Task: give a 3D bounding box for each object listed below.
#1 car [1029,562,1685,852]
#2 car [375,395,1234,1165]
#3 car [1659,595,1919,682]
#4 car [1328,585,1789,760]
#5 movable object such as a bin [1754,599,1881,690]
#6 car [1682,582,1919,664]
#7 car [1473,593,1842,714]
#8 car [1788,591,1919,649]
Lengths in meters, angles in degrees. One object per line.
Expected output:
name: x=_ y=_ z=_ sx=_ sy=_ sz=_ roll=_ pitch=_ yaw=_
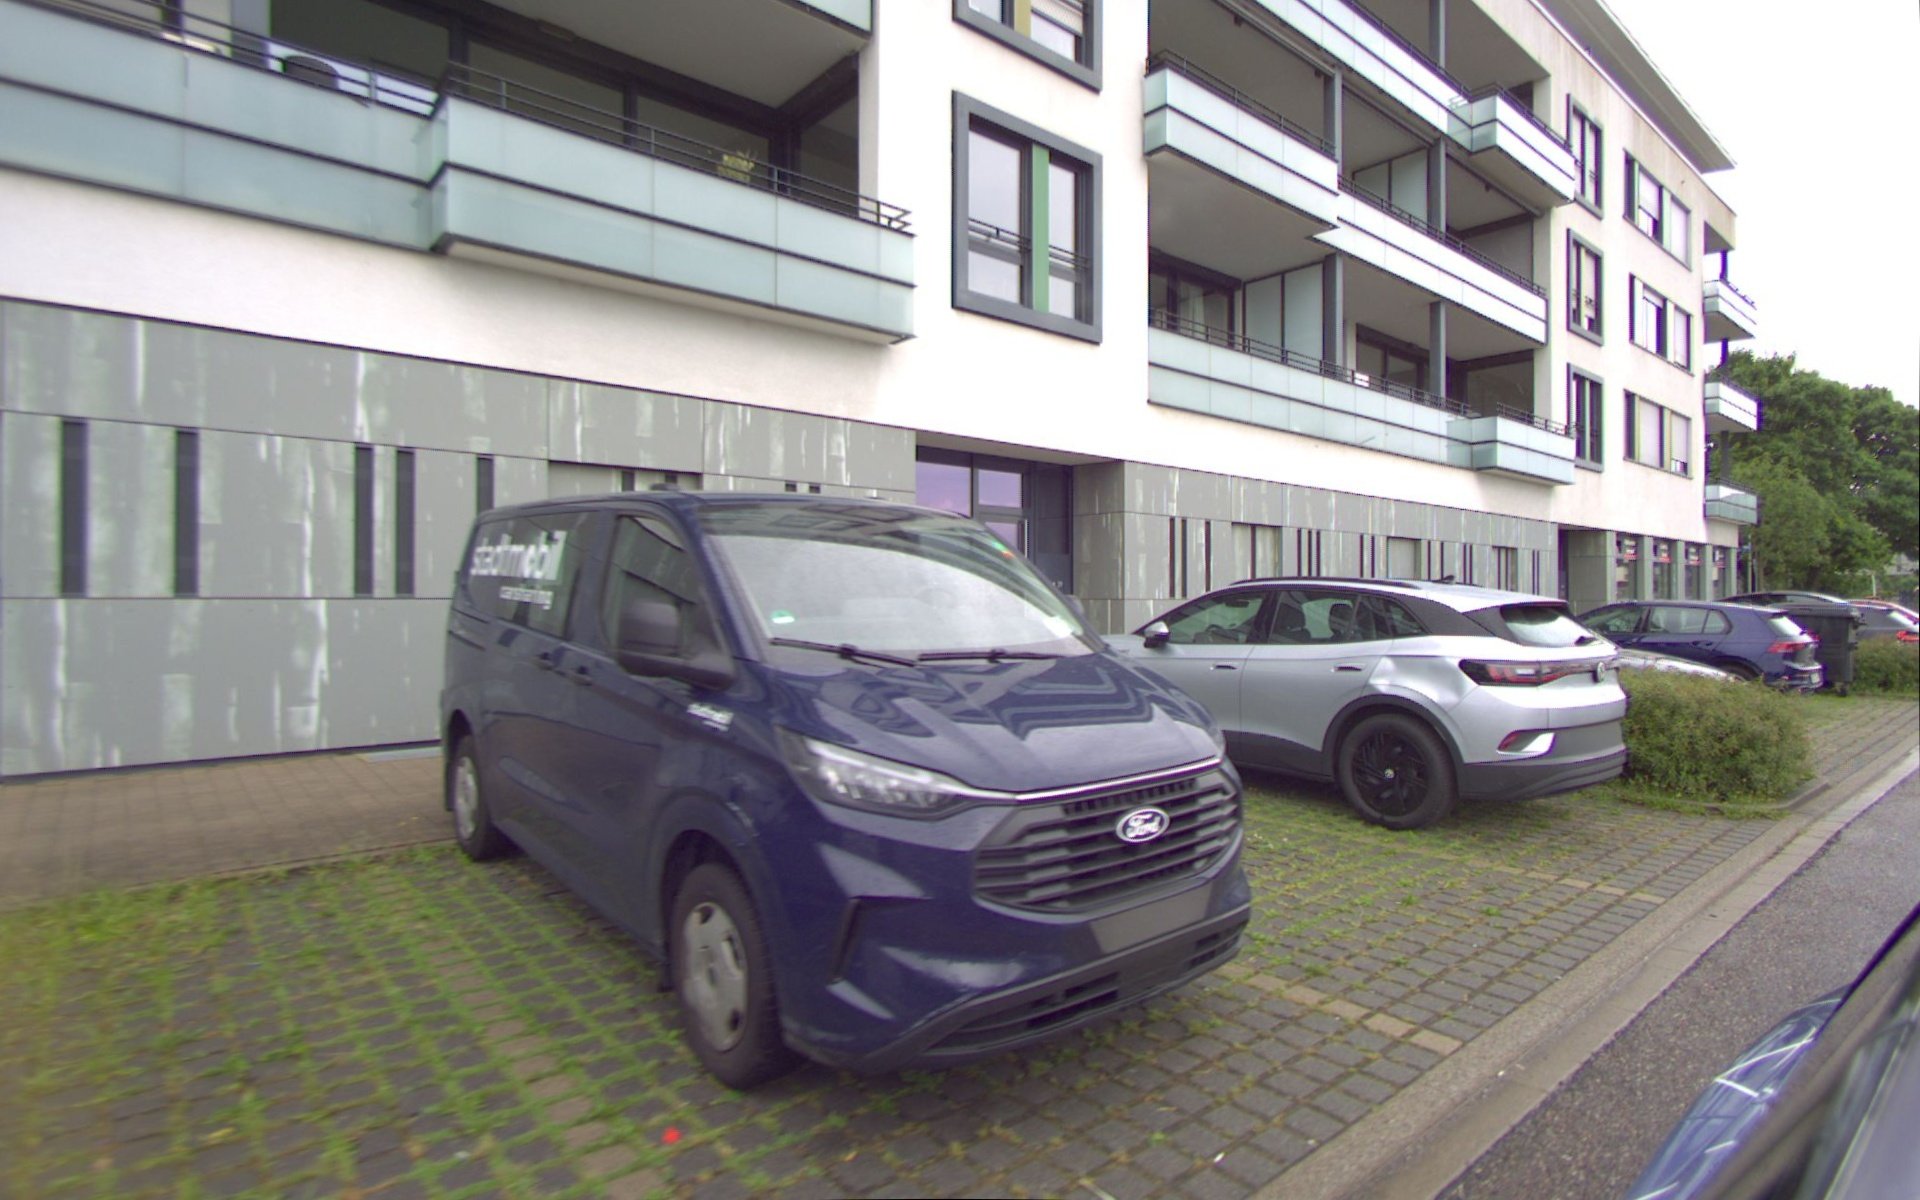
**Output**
car: x=2.795 y=0.537 z=8.035 sx=2.045 sy=1.621 sz=4.430 roll=0 pitch=2 yaw=-38
car: x=-1.342 y=0.384 z=5.132 sx=1.947 sy=1.953 sz=5.060 roll=0 pitch=2 yaw=-40
car: x=16.061 y=0.668 z=19.465 sx=1.755 sy=1.506 sz=3.993 roll=0 pitch=0 yaw=-41
car: x=6.328 y=0.650 z=11.112 sx=1.745 sy=1.552 sz=3.997 roll=0 pitch=0 yaw=-37
movable object such as a bin: x=13.478 y=0.686 z=15.925 sx=0.960 sy=1.355 sz=1.351 roll=0 pitch=-2 yaw=-41
car: x=19.148 y=0.476 z=22.458 sx=1.835 sy=1.685 sz=4.792 roll=0 pitch=0 yaw=-41
car: x=9.894 y=0.666 z=14.622 sx=1.681 sy=1.496 sz=4.096 roll=0 pitch=0 yaw=-41
car: x=25.025 y=0.516 z=27.246 sx=1.755 sy=1.506 sz=3.993 roll=0 pitch=0 yaw=-41
